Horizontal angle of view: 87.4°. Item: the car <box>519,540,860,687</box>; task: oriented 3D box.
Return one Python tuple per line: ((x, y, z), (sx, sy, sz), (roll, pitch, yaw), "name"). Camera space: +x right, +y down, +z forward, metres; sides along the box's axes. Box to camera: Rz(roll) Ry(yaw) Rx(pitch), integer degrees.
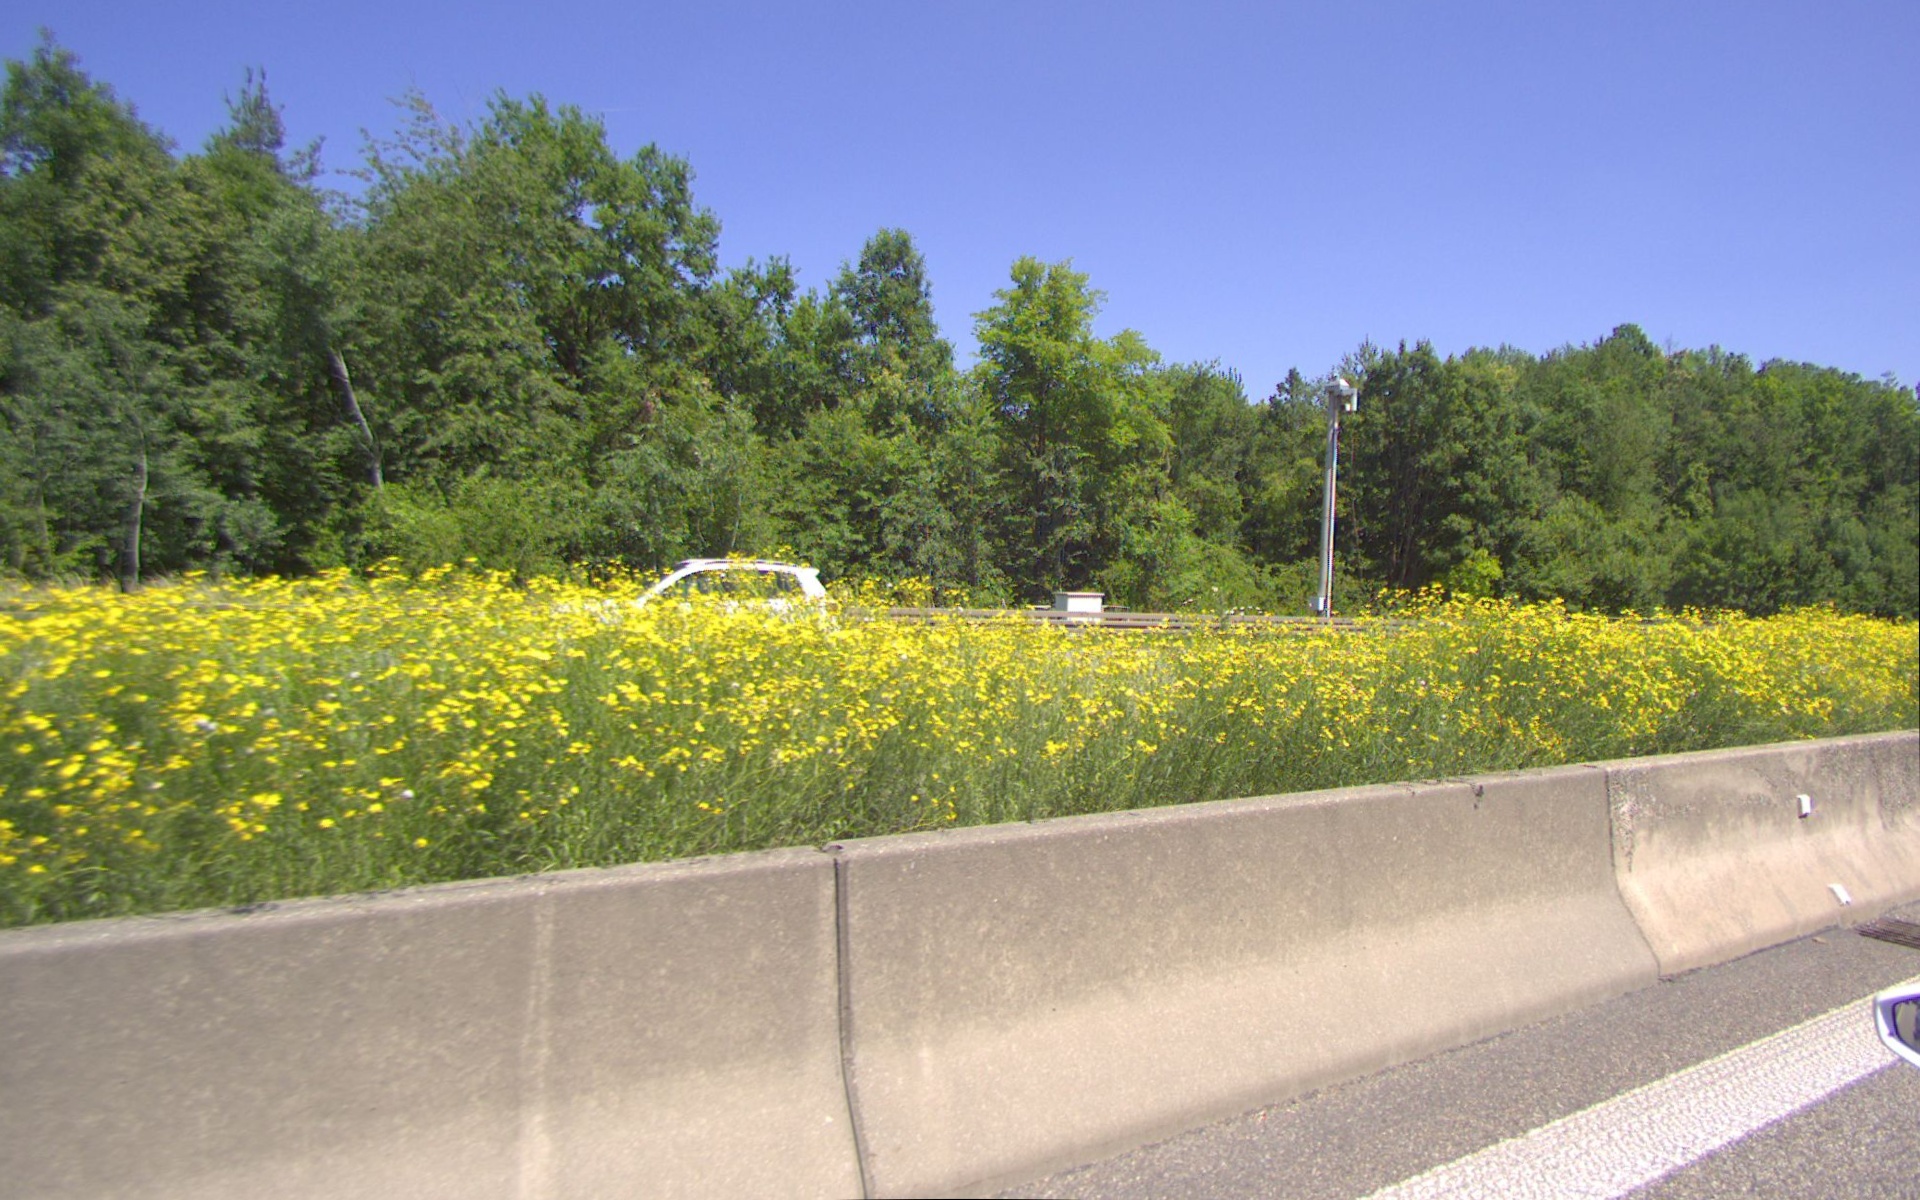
((-3.754, 0.182, 14.100), (4.271, 1.789, 1.873), (1, 1, -30), "car")
